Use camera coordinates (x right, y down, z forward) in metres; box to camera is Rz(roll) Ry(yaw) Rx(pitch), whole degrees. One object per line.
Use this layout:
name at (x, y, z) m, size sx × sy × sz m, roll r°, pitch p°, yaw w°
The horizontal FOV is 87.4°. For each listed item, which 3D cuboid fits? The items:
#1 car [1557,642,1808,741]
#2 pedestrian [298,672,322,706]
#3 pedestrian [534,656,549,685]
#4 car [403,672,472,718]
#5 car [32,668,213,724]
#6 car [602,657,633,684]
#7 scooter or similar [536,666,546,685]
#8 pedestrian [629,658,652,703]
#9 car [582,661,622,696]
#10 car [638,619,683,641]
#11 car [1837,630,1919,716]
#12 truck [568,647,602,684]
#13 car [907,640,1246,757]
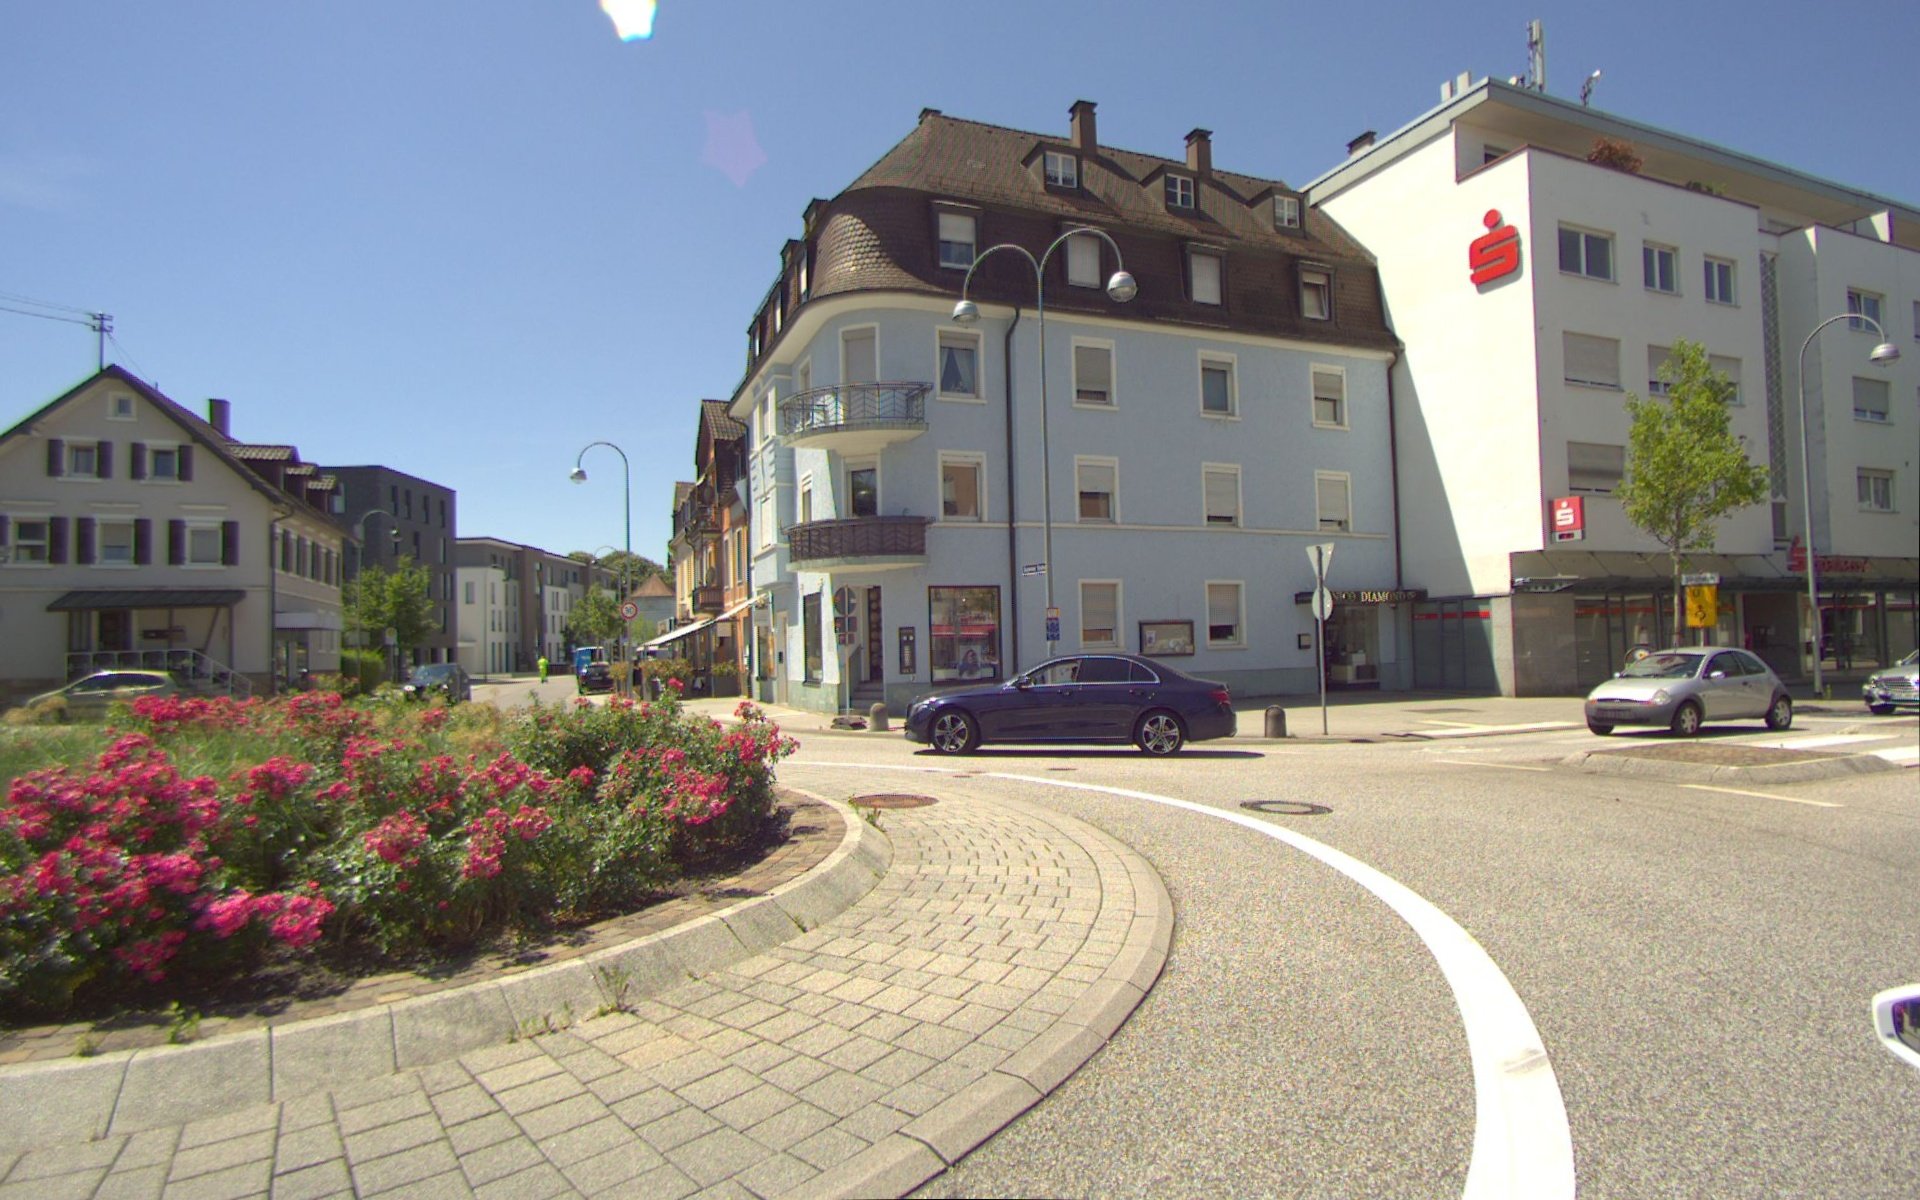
car at (12.363, 1.521, 17.213) m, size 3.733 × 1.477 × 1.697 m, roll 0°, pitch -4°, yaw -22°
pedestrian at (-25.553, 3.491, 39.501) m, size 0.676 × 1.302 × 0.578 m, roll 0°, pitch -3°, yaw -24°
pedestrian at (-31.015, 5.223, 74.477) m, size 0.906 × 2.056 × 0.898 m, roll 0°, pitch -2°, yaw -15°
car at (-20.320, 3.659, 39.196) m, size 1.727 × 1.566 × 3.581 m, roll -2°, pitch -2°, yaw -18°
car at (-26.271, 2.996, 31.682) m, size 3.938 × 1.616 × 1.788 m, roll 1°, pitch -4°, yaw -20°
car at (-21.535, 4.410, 63.253) m, size 1.656 × 1.566 × 3.581 m, roll -2°, pitch -2°, yaw -18°
scooter or similar at (-31.041, 5.569, 74.489) m, size 0.519 × 1.391 × 1.343 m, roll 0°, pitch -3°, yaw -15°
pedestrian at (-11.290, 2.832, 35.450) m, size 0.620 × 1.544 × 0.799 m, roll -2°, pitch -2°, yaw -24°
car at (-17.604, 3.829, 49.533) m, size 1.656 × 1.566 × 3.932 m, roll -2°, pitch -2°, yaw -18°
car at (-30.187, 3.048, 101.403) m, size 1.895 × 2.135 × 4.446 m, roll -1°, pitch -3°, yaw 26°
car at (20.231, 1.397, 20.194) m, size 4.928 × 1.613 × 1.989 m, roll 0°, pitch -3°, yaw -24°
truck at (-25.931, 4.496, 69.590) m, size 1.930 × 2.400 × 4.322 m, roll -2°, pitch -2°, yaw -18°
car at (1.677, 1.442, 14.879) m, size 4.614 × 1.496 × 2.002 m, roll -2°, pitch -4°, yaw 7°
